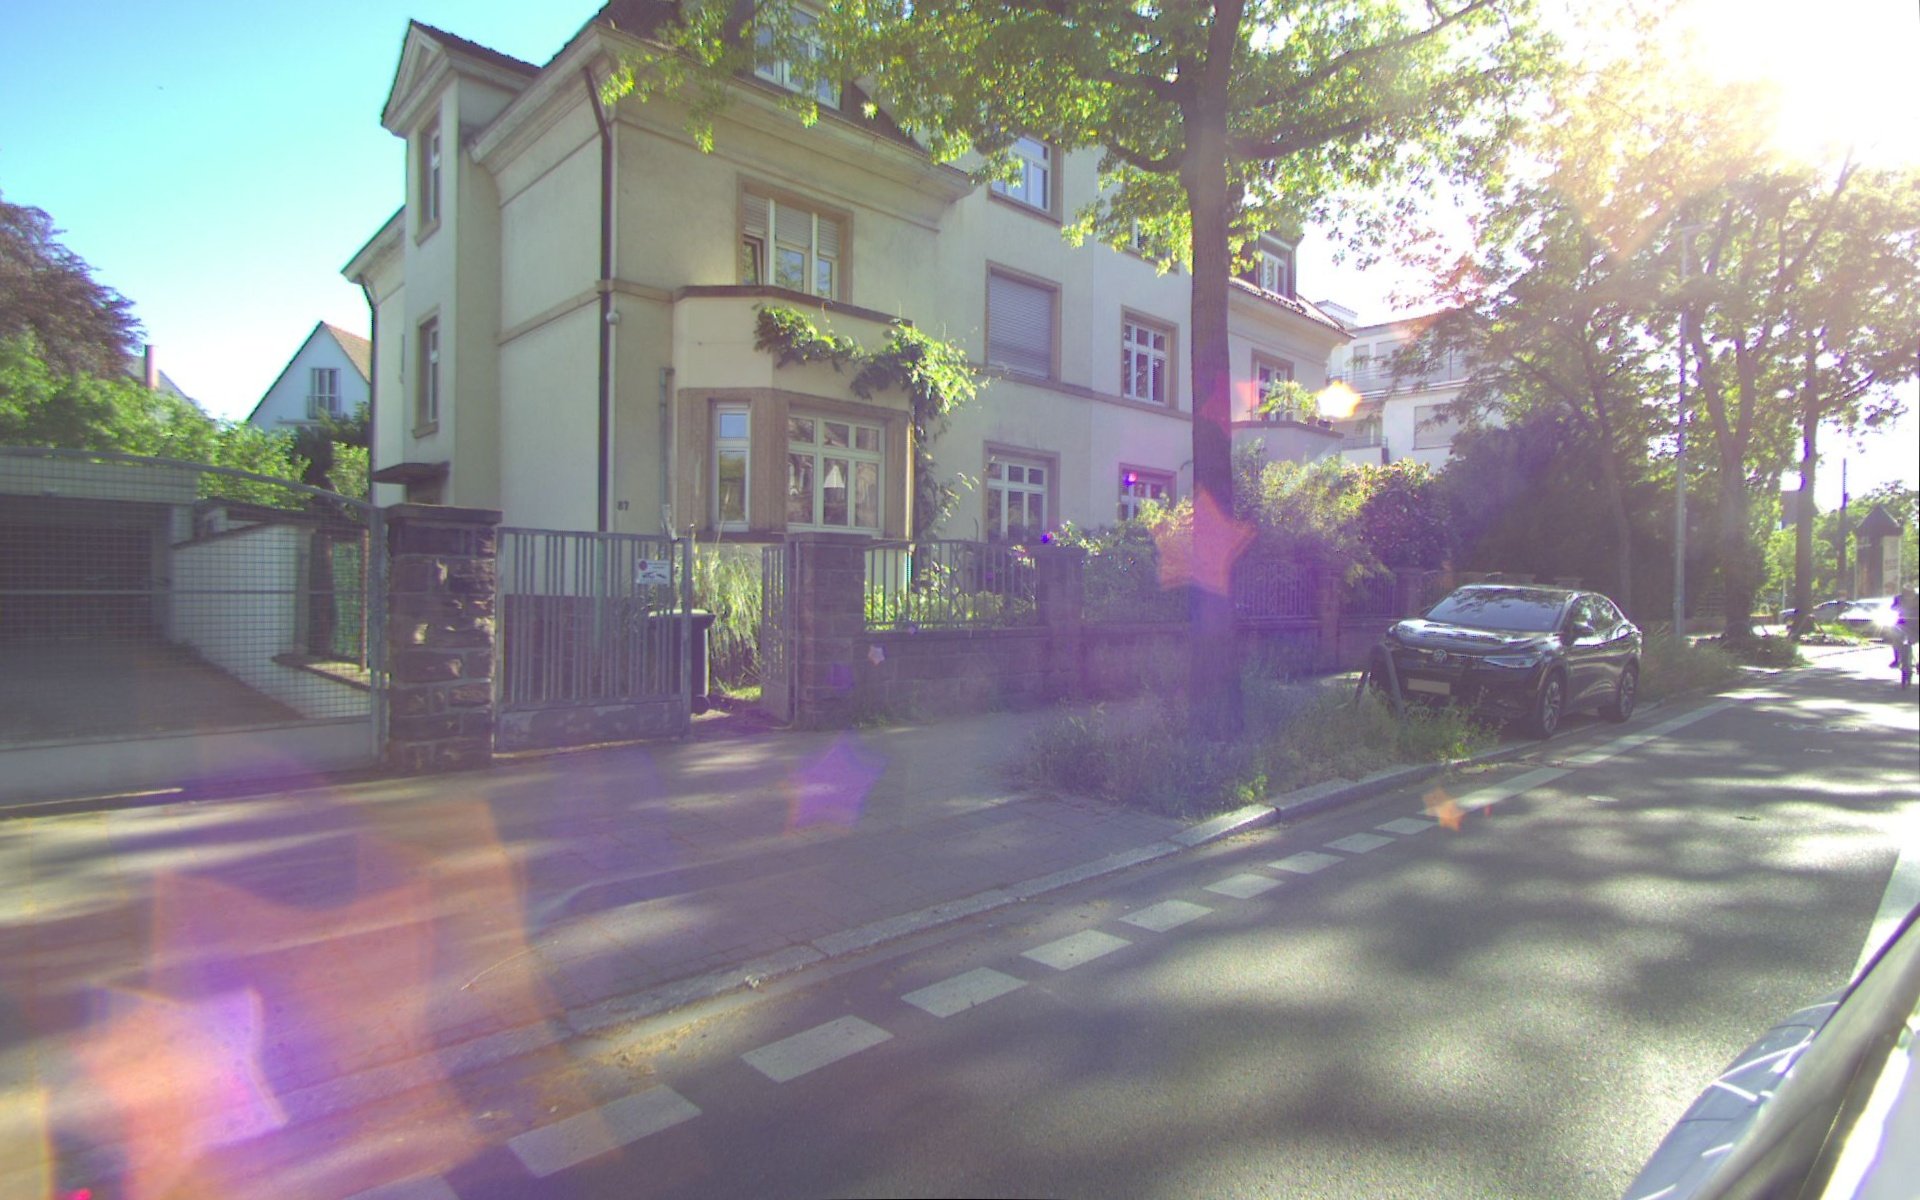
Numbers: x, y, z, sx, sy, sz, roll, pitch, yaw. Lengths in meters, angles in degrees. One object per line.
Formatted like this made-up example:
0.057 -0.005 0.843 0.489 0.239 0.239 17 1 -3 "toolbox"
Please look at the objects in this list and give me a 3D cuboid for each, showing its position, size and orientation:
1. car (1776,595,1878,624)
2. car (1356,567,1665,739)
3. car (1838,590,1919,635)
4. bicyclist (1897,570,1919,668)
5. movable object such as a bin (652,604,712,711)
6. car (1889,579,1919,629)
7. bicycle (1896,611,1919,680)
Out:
46.059 0.460 53.833 1.784 1.459 3.990 0 1 -44 "car"
6.699 0.497 12.133 4.186 1.619 1.917 0 4 -42 "car"
31.503 0.384 34.268 4.181 1.427 1.901 0 1 -38 "car"
16.588 0.314 17.385 0.654 1.662 0.643 0 0 -41 "bicyclist"
-2.933 0.586 10.668 0.551 1.062 0.676 0 0 -20 "movable object such as a bin"
36.663 0.131 37.850 4.580 1.808 1.903 0 1 -35 "car"
16.634 0.771 17.412 1.823 1.125 0.588 0 0 -41 "bicycle"
